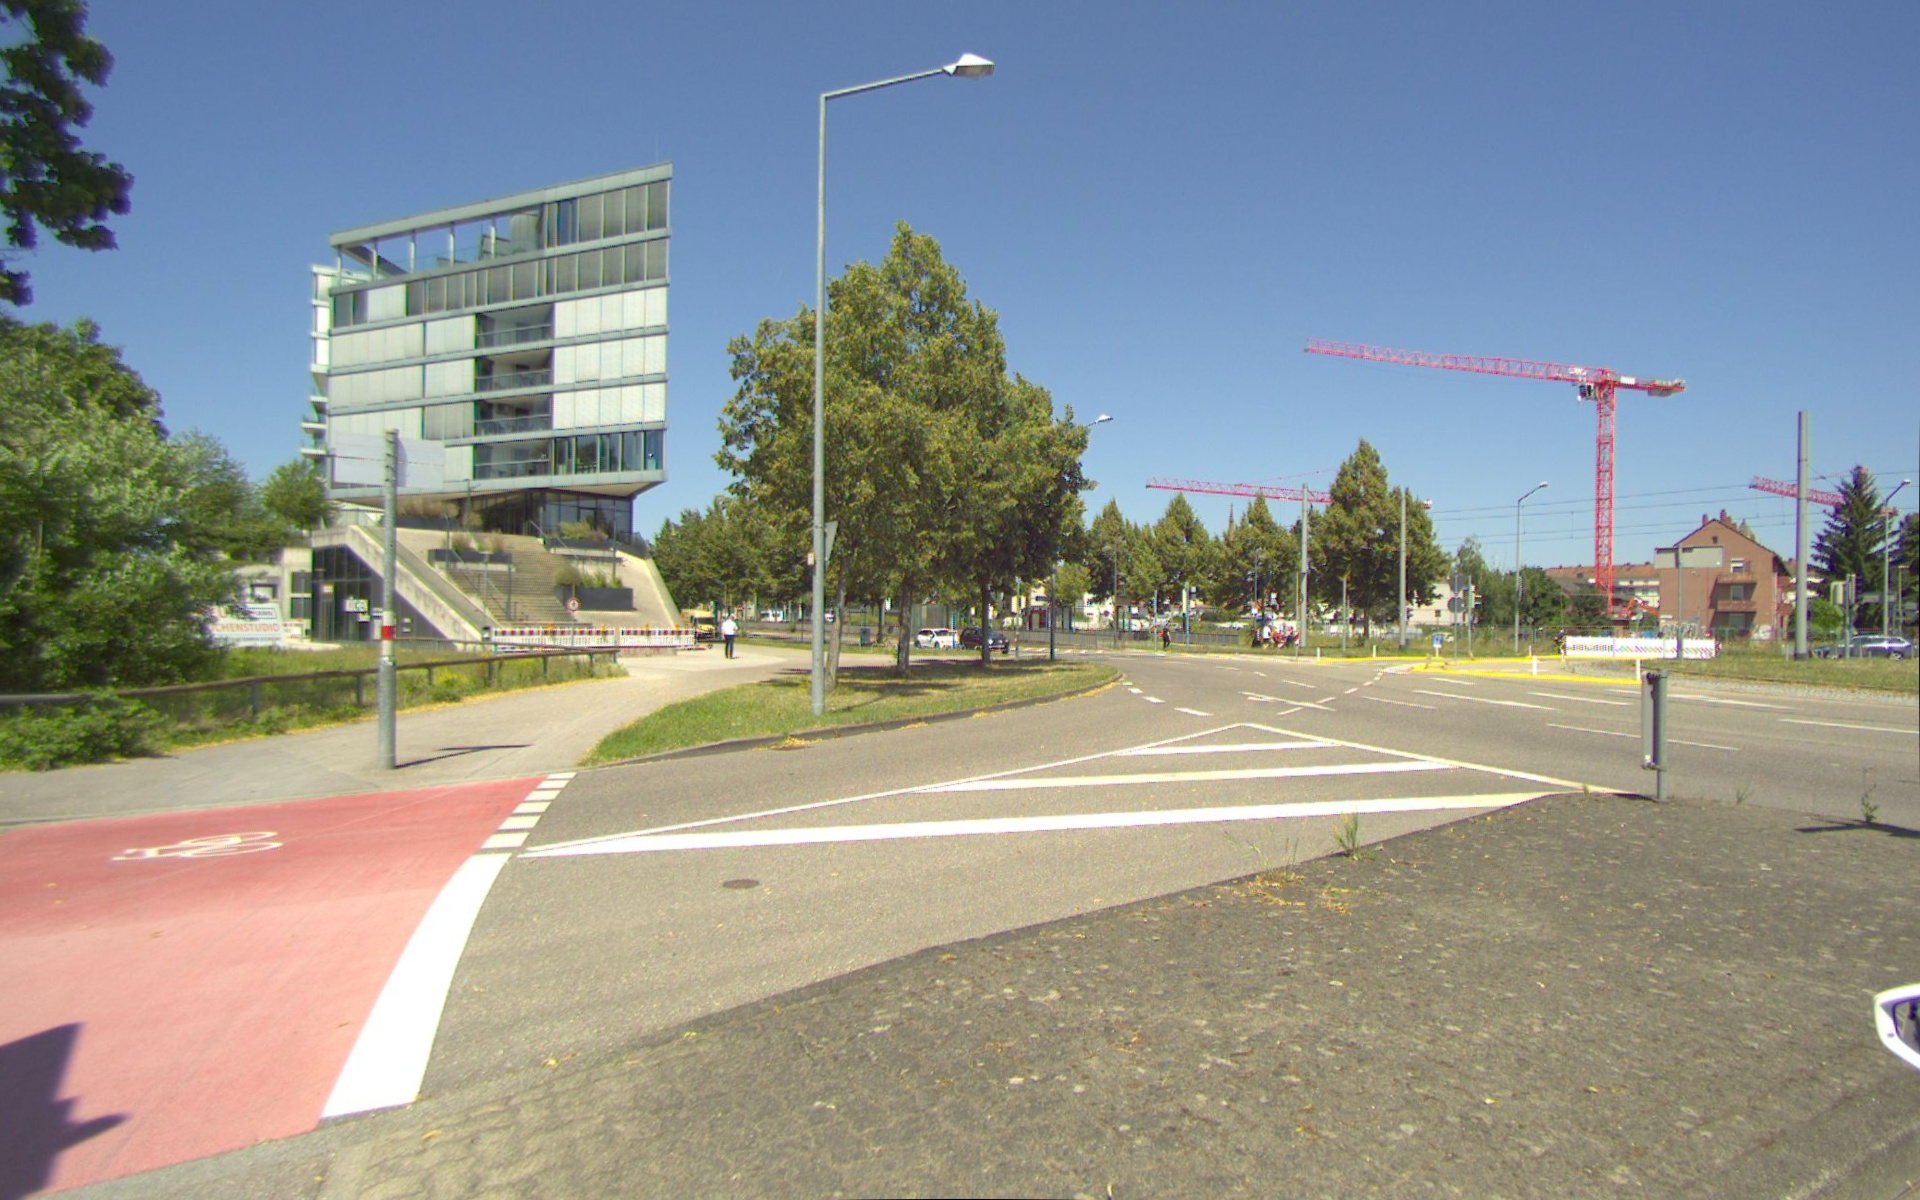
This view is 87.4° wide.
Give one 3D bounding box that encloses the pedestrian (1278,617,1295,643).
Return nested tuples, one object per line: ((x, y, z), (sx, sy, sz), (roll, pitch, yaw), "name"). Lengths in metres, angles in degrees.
((21.553, 1.962, 66.283), (0.749, 1.661, 0.778), (2, 0, -17), "pedestrian")

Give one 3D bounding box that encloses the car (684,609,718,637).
((-24.312, 2.124, 94.187), (1.978, 2.541, 3.965), (1, -1, -32), "car")

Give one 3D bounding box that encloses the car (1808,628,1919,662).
((46.700, 2.314, 51.978), (3.929, 1.483, 1.996), (2, 0, 30), "car")

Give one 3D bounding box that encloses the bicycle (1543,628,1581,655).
((40.093, 2.779, 66.887), (2.044, 1.707, 0.560), (2, 0, 6), "bicycle")

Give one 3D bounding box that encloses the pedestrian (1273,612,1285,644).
((19.851, 1.721, 62.470), (0.617, 1.960, 0.646), (0, -1, 26), "pedestrian")

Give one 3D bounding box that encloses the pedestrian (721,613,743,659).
((-9.648, 1.508, 42.539), (0.821, 1.894, 0.609), (2, 0, -16), "pedestrian")

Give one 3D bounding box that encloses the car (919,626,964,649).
((-1.230, 2.377, 63.915), (1.557, 1.242, 3.300), (2, 0, -27), "car")

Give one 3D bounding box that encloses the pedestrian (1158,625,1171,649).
((12.343, 2.235, 60.640), (0.589, 1.425, 0.540), (1, -1, -26), "pedestrian")

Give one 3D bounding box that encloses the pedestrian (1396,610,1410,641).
((29.953, 1.727, 67.882), (0.588, 2.040, 0.598), (2, 1, -30), "pedestrian")

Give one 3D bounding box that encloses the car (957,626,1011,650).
((1.379, 2.227, 59.009), (1.719, 1.228, 3.541), (2, 0, -27), "car")

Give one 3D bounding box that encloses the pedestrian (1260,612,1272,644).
((19.058, 1.722, 62.464), (0.617, 1.960, 0.646), (0, -1, 26), "pedestrian")
